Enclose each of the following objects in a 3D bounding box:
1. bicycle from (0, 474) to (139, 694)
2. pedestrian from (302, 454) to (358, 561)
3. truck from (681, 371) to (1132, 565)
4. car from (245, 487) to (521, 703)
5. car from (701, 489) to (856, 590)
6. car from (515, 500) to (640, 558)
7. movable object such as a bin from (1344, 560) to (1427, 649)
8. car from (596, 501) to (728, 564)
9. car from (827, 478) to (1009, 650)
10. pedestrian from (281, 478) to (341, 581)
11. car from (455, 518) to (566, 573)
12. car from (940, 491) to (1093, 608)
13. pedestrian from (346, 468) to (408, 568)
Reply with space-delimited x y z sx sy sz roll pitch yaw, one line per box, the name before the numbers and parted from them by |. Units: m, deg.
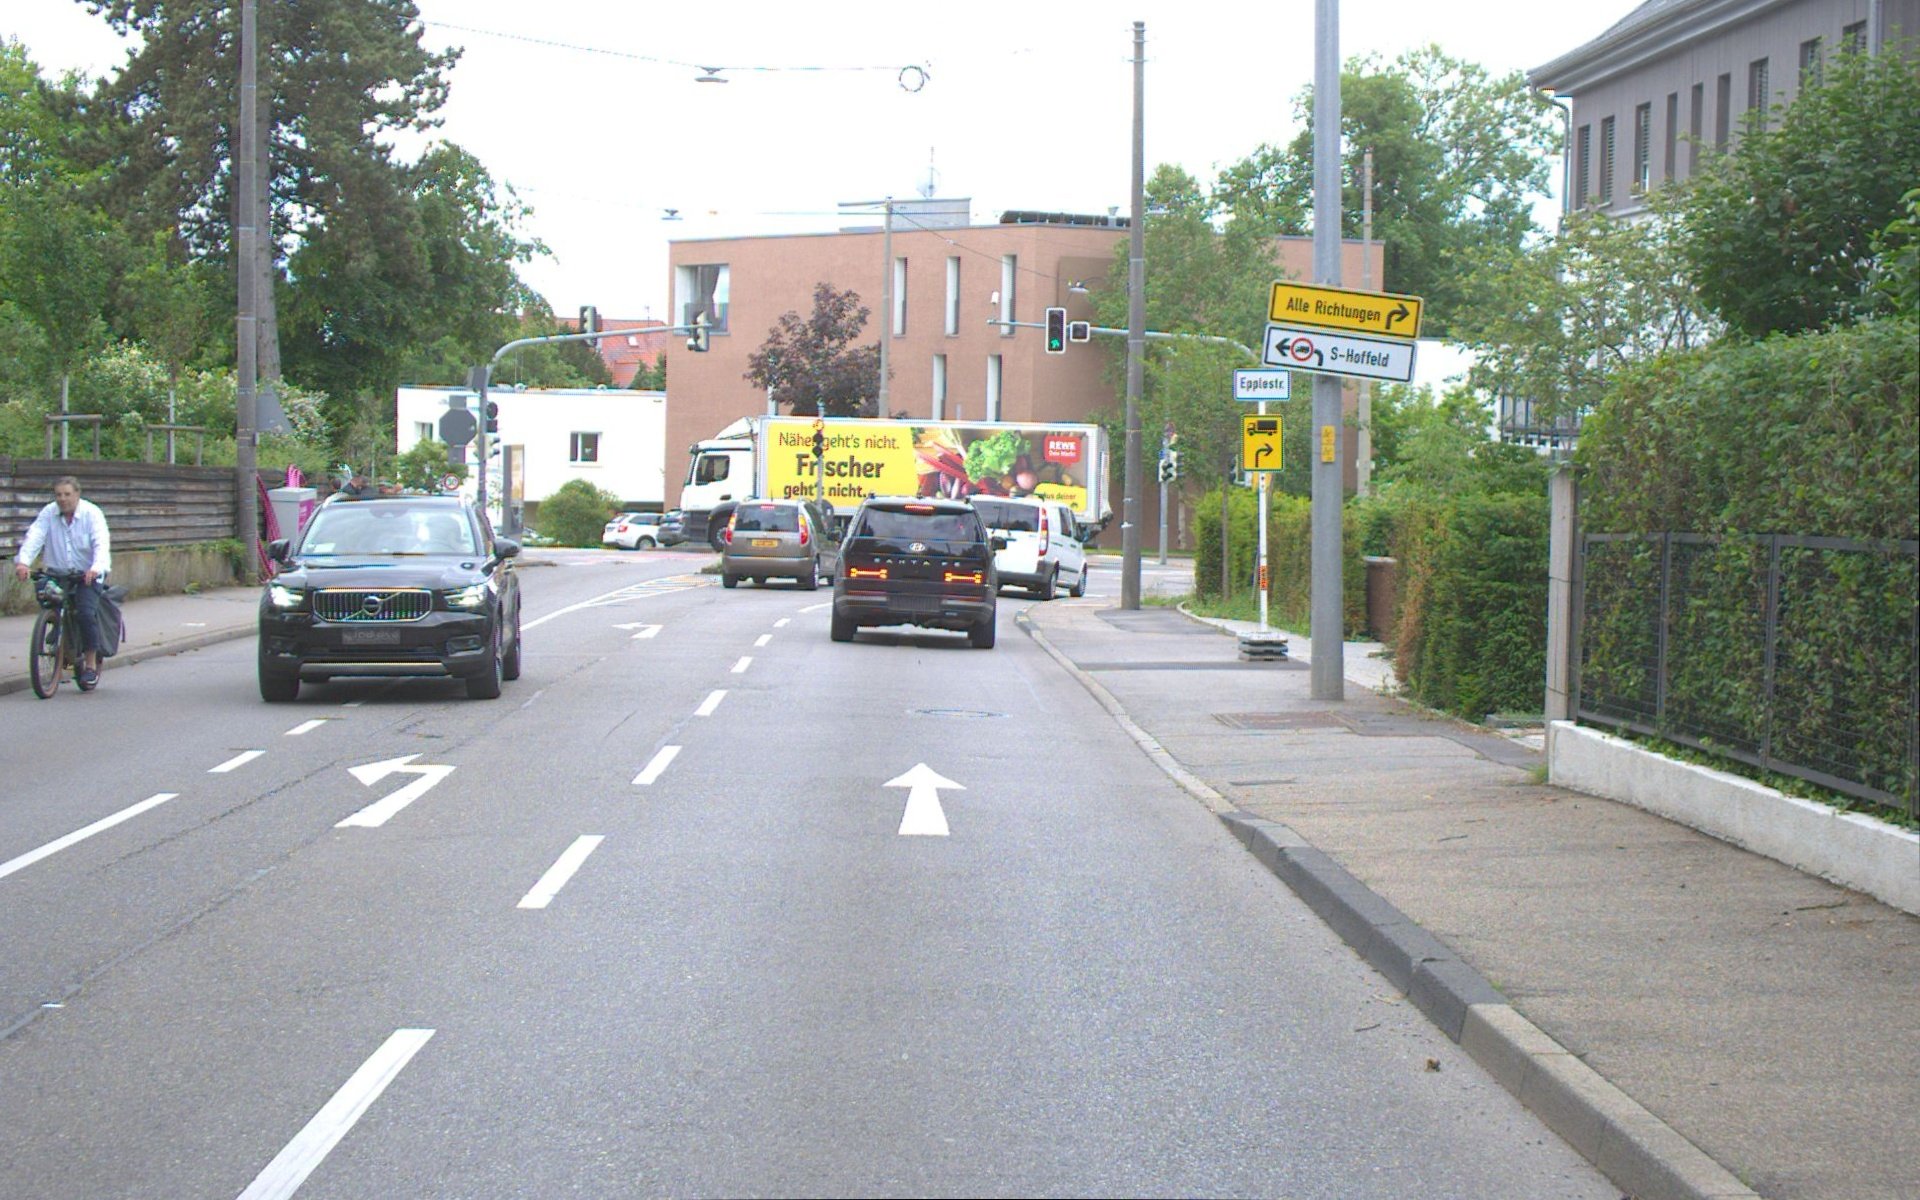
bicycle | -7.290 -0.149 28.131 0.758 1.738 1.872 0 1 -2
pedestrian | -11.032 -1.625 60.215 0.750 1.831 0.615 1 2 -30
truck | -1.386 -3.564 92.786 11.758 4.718 3.135 2 2 5
car | -4.626 -0.096 28.097 1.831 1.625 4.284 0 2 -4
car | -3.251 -1.103 62.256 1.894 1.700 3.998 2 1 10
car | -13.882 -2.575 124.728 3.986 2.006 2.000 0 2 -29
movable object such as a bin | 5.399 0.053 43.632 0.714 1.070 0.682 3 0 -38
car | -10.193 -2.302 117.734 3.986 2.006 2.000 1 2 -29
car | -0.501 -0.417 40.624 1.993 1.875 4.000 2 0 -1
pedestrian | -11.328 -1.226 59.985 0.815 1.757 0.868 1 2 -24
car | -17.641 -2.136 134.834 3.985 2.006 2.001 2 2 -17
car | 1.127 -1.012 66.151 1.963 2.006 4.426 5 3 12
pedestrian | -10.311 -1.449 60.808 0.695 1.728 0.750 3 2 43
